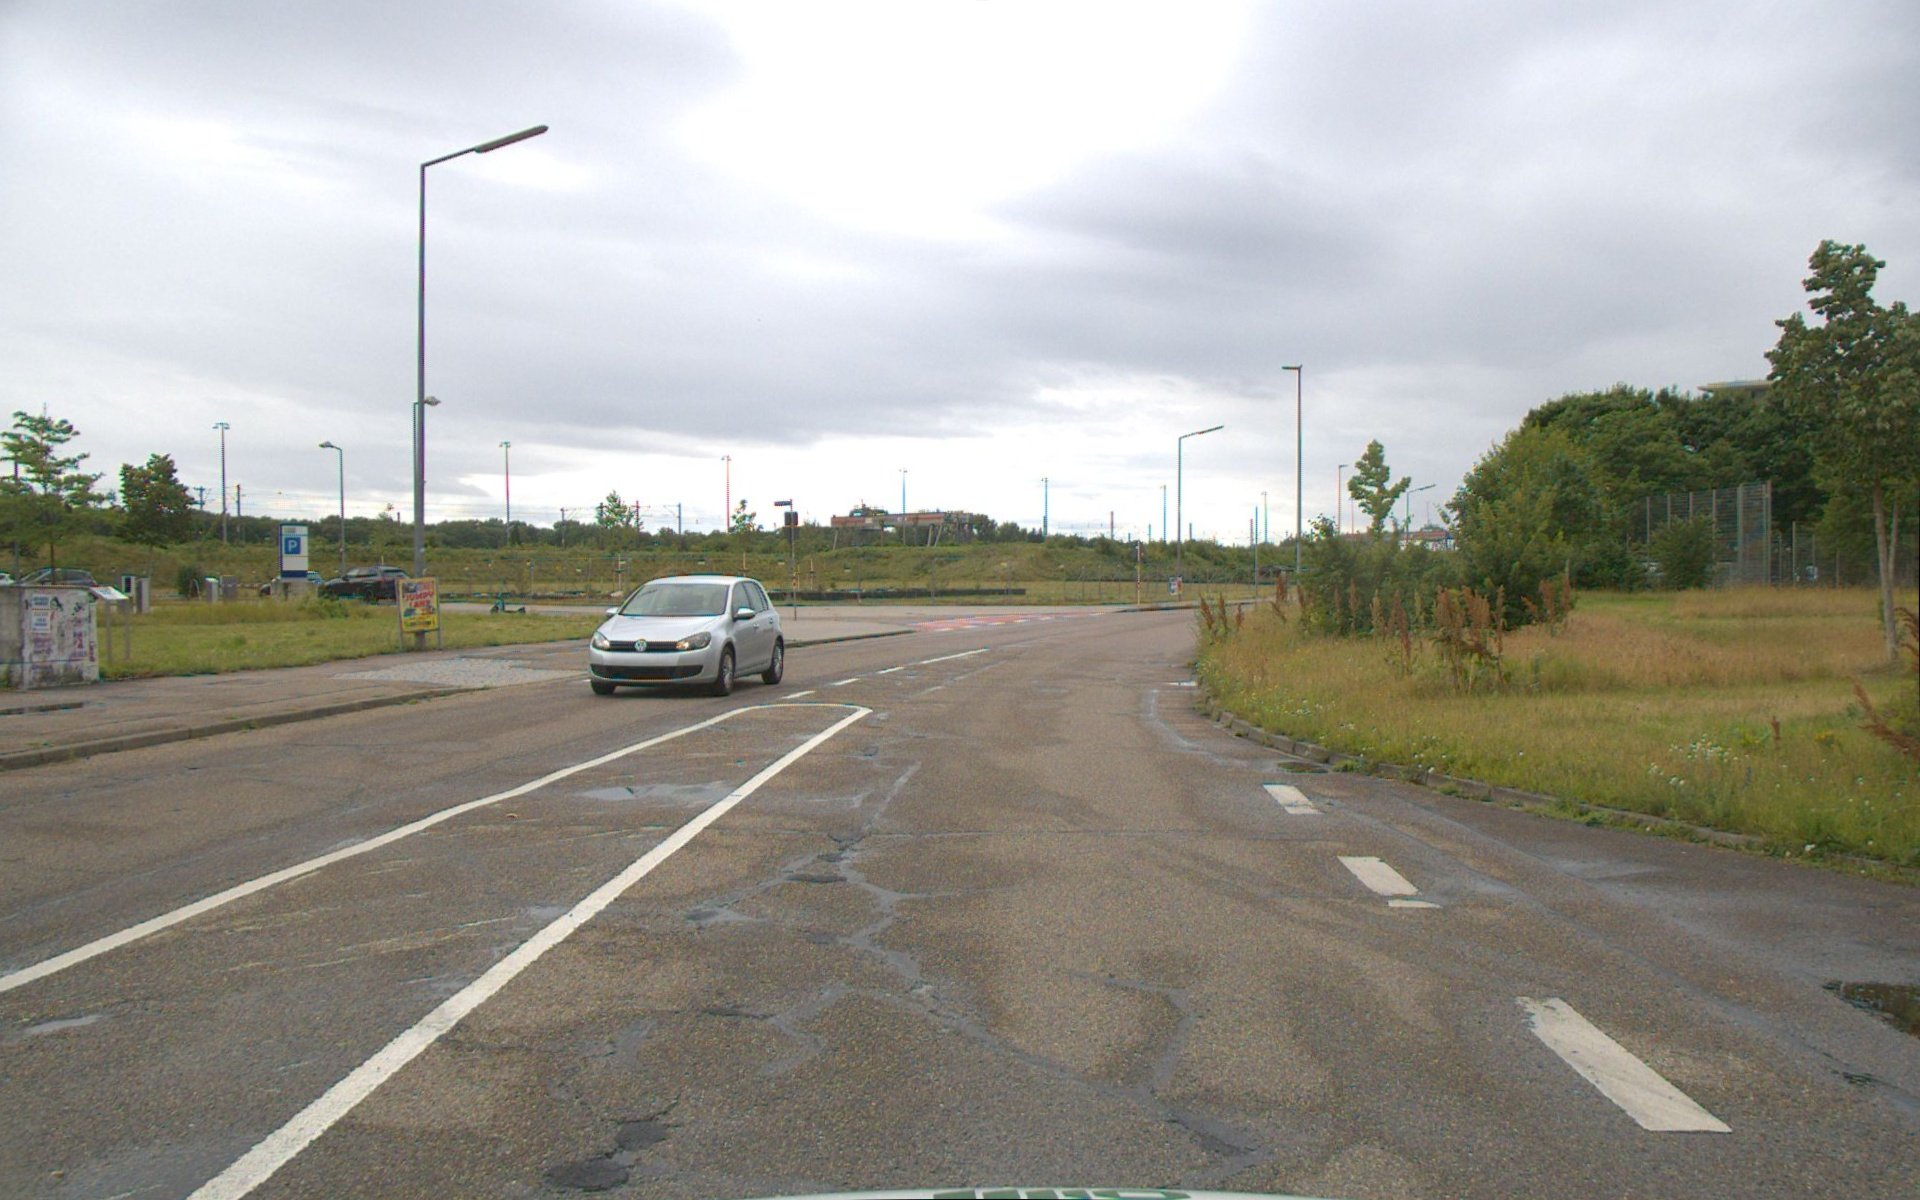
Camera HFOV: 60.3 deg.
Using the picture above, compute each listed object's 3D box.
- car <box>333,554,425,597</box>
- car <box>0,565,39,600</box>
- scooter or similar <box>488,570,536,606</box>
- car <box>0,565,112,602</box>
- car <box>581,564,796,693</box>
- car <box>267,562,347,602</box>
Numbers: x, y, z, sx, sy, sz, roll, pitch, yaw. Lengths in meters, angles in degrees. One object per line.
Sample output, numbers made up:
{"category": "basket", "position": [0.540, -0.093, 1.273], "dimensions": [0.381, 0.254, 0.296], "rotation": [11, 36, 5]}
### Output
{"category": "car", "position": [-26.039, -1.118, 74.150], "dimensions": [3.919, 1.854, 1.993], "rotation": [1, 2, 35]}
{"category": "car", "position": [-43.737, -0.783, 73.870], "dimensions": [1.954, 1.544, 4.150], "rotation": [0, 2, 26]}
{"category": "scooter or similar", "position": [-15.014, -0.401, 55.466], "dimensions": [1.431, 1.188, 0.572], "rotation": [1, 1, 8]}
{"category": "car", "position": [-37.994, -0.724, 69.405], "dimensions": [1.662, 1.467, 3.990], "rotation": [1, 2, 32]}
{"category": "car", "position": [-3.454, 0.304, 21.762], "dimensions": [1.636, 1.487, 4.060], "rotation": [2, 1, 8]}
{"category": "car", "position": [-30.463, -0.864, 77.132], "dimensions": [3.603, 1.783, 1.799], "rotation": [1, 2, 36]}
